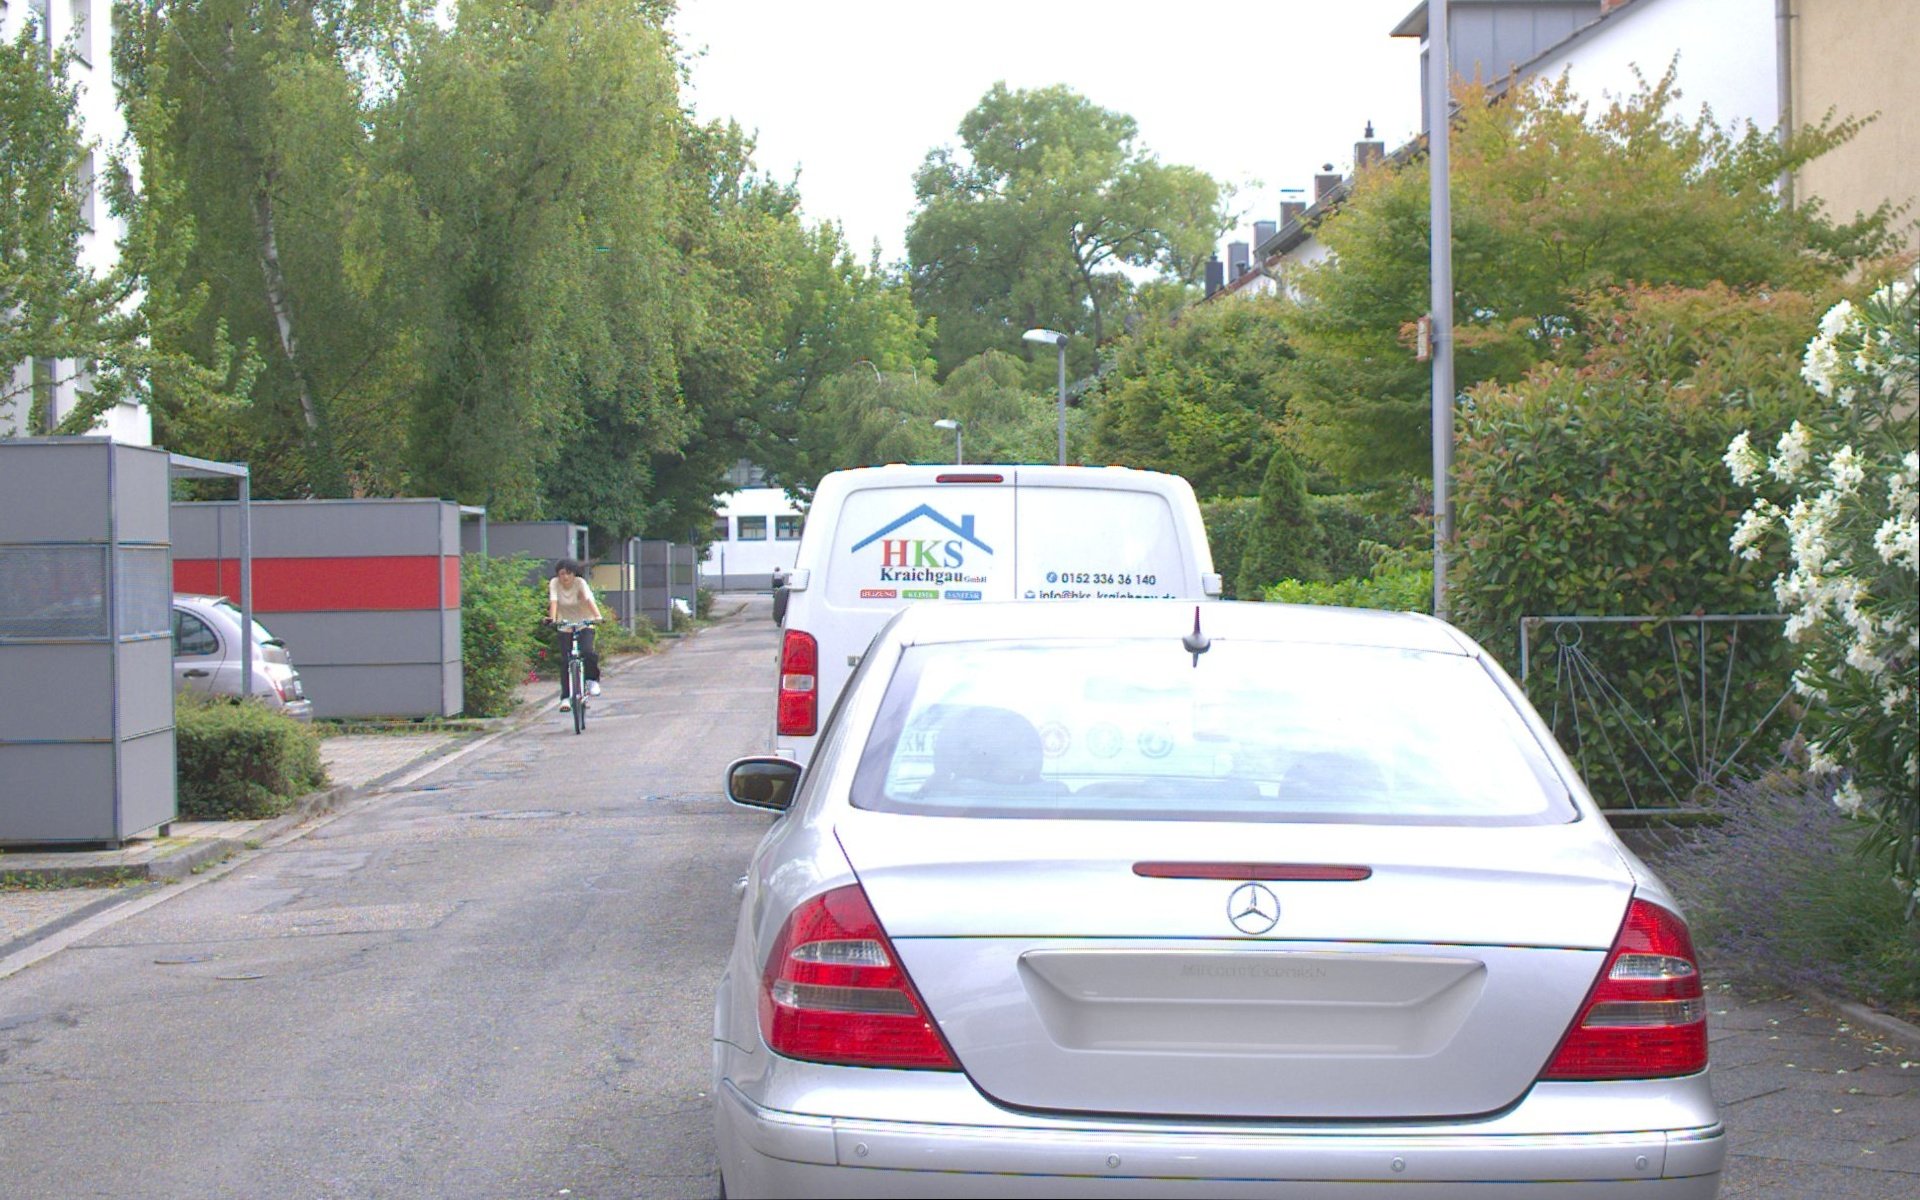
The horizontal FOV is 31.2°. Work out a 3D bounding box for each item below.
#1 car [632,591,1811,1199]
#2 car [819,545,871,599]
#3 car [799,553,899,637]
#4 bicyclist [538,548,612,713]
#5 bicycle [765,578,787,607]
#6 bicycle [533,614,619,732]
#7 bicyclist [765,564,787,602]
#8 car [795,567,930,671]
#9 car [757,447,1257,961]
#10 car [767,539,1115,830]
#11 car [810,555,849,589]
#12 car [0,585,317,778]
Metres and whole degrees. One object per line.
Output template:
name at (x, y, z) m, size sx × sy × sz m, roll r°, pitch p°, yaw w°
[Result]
car at (0.373, 0.713, 7.450) m, size 1.783 × 1.416 × 4.455 m, roll 1°, pitch 1°, yaw -1°
car at (-4.138, -1.030, 124.410) m, size 1.825 × 1.877 × 4.000 m, roll 1°, pitch 1°, yaw -2°
car at (-2.207, -0.117, 67.694) m, size 1.825 × 1.576 × 4.001 m, roll 1°, pitch 1°, yaw -3°
bicyclist at (-3.778, 0.293, 33.777) m, size 0.597 × 1.575 × 0.767 m, roll -2°, pitch 0°, yaw -1°
bicycle at (-7.285, -0.319, 136.147) m, size 0.689 × 1.127 × 2.579 m, roll 1°, pitch 0°, yaw 0°
bicycle at (-3.766, 0.698, 33.814) m, size 0.597 × 1.072 × 2.042 m, roll -2°, pitch 1°, yaw -1°
bicyclist at (-7.278, -0.665, 136.214) m, size 0.798 × 1.506 × 0.934 m, roll 1°, pitch 0°, yaw 0°
car at (-1.389, 0.244, 48.987) m, size 1.825 × 1.365 × 4.331 m, roll 1°, pitch 1°, yaw -2°
car at (0.056, 0.375, 15.795) m, size 1.903 × 1.958 × 5.254 m, roll 0°, pitch 1°, yaw -3°
car at (-0.218, 0.457, 21.481) m, size 1.824 × 1.630 × 4.163 m, roll 0°, pitch 1°, yaw -5°
car at (-6.266, -1.362, 165.333) m, size 1.825 × 1.576 × 4.000 m, roll 1°, pitch 1°, yaw -2°
car at (-7.294, 0.677, 28.864) m, size 3.561 × 1.475 × 1.711 m, roll -2°, pitch 1°, yaw -6°
